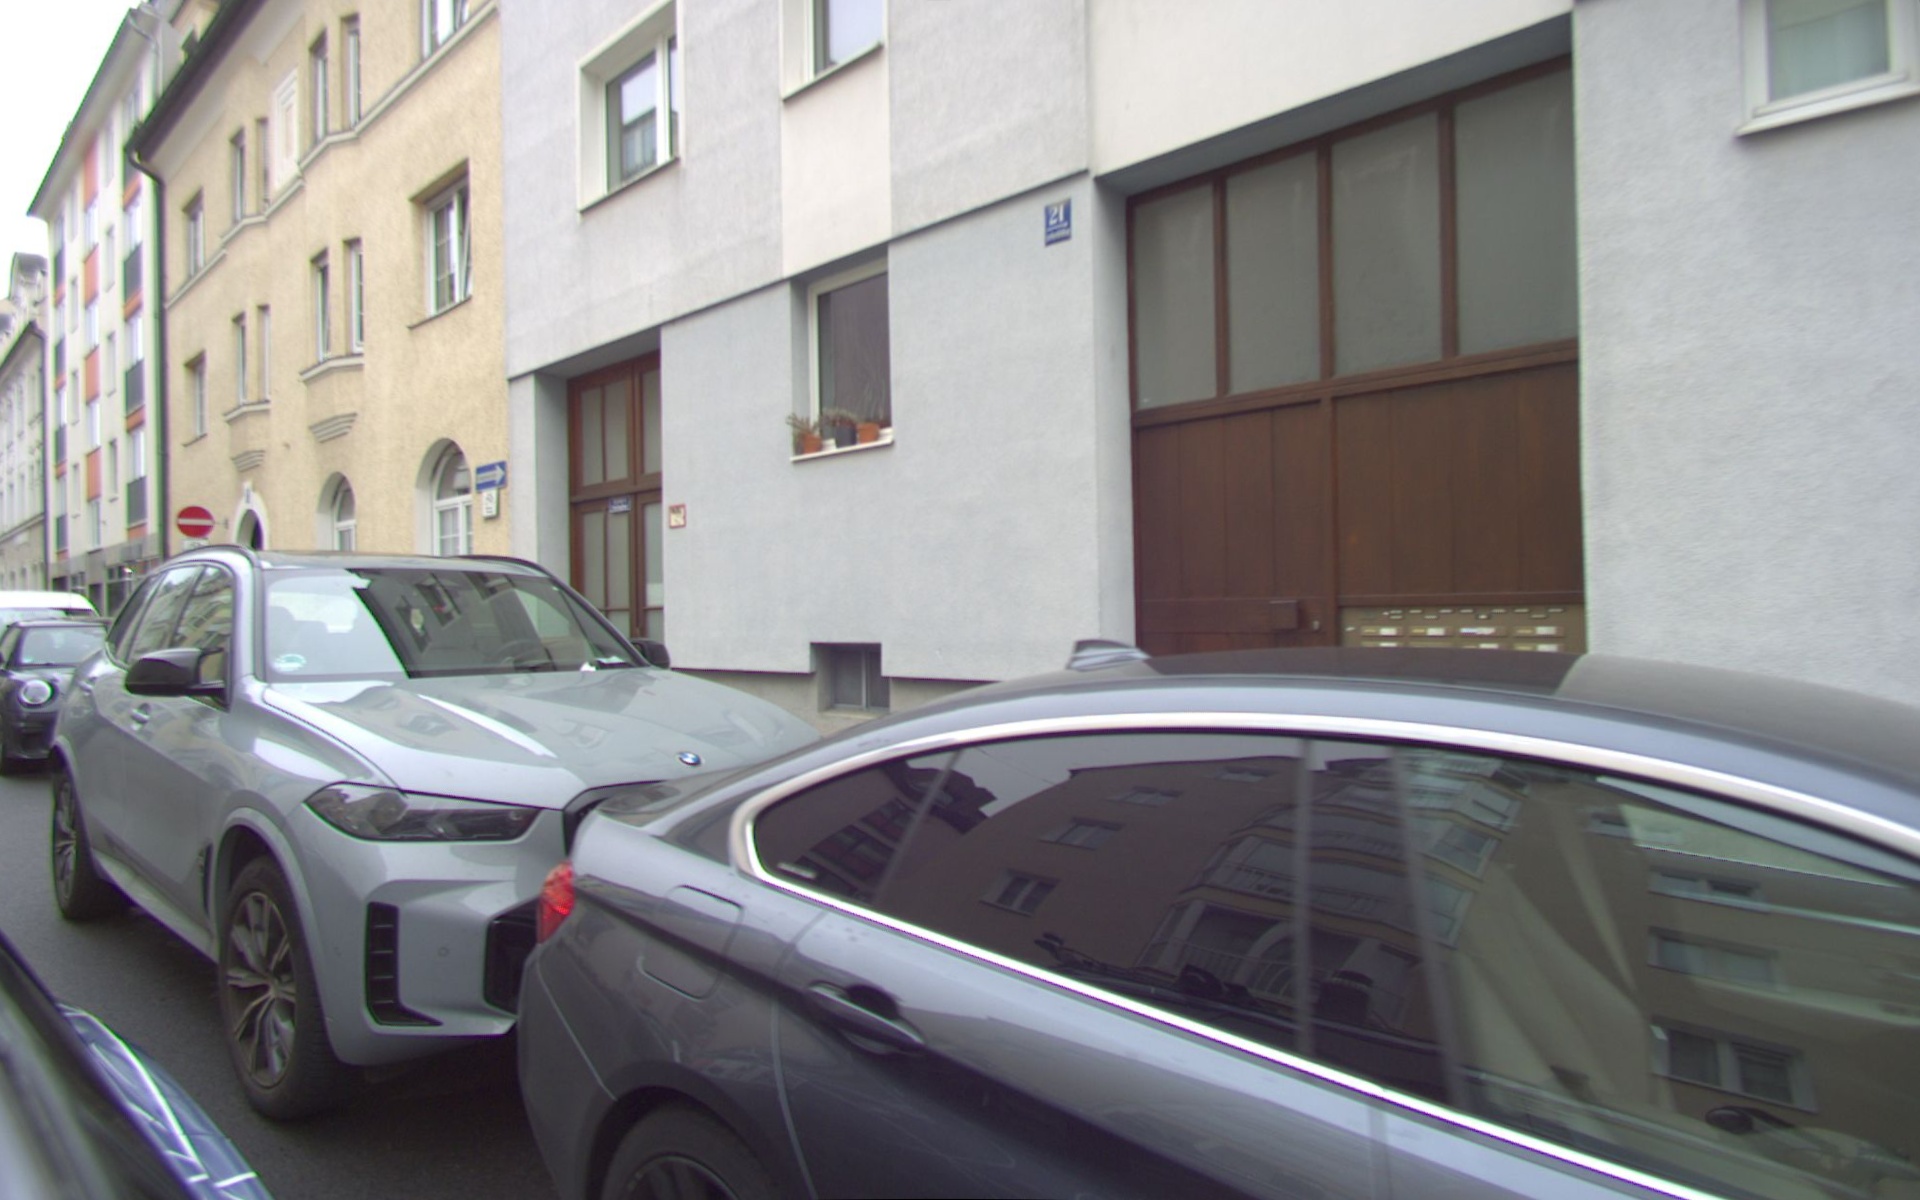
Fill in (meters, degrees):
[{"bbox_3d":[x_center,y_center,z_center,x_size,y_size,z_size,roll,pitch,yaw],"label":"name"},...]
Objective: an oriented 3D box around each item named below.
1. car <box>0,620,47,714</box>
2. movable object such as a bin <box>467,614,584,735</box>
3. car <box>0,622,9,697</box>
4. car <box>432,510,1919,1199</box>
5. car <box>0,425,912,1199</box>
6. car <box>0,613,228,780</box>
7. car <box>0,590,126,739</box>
[{"bbox_3d":[-16.891,1.088,17.146,4.111,1.486,1.654,-1,-2,42],"label":"car"},{"bbox_3d":[-4.276,0.708,9.980,0.622,1.059,0.799,-1,3,41],"label":"movable object such as a bin"},{"bbox_3d":[-20.939,1.201,20.807,3.839,1.486,1.611,-2,-3,41],"label":"car"},{"bbox_3d":[1.091,0.666,1.434,4.247,1.397,1.793,-2,-3,40],"label":"car"},{"bbox_3d":[-2.585,0.587,4.480,4.730,1.783,1.844,-2,-3,39],"label":"car"},{"bbox_3d":[-9.102,0.902,10.487,3.732,1.422,1.635,-2,-3,41],"label":"car"},{"bbox_3d":[-12.953,0.789,13.920,4.249,1.802,1.705,0,-2,43],"label":"car"}]
